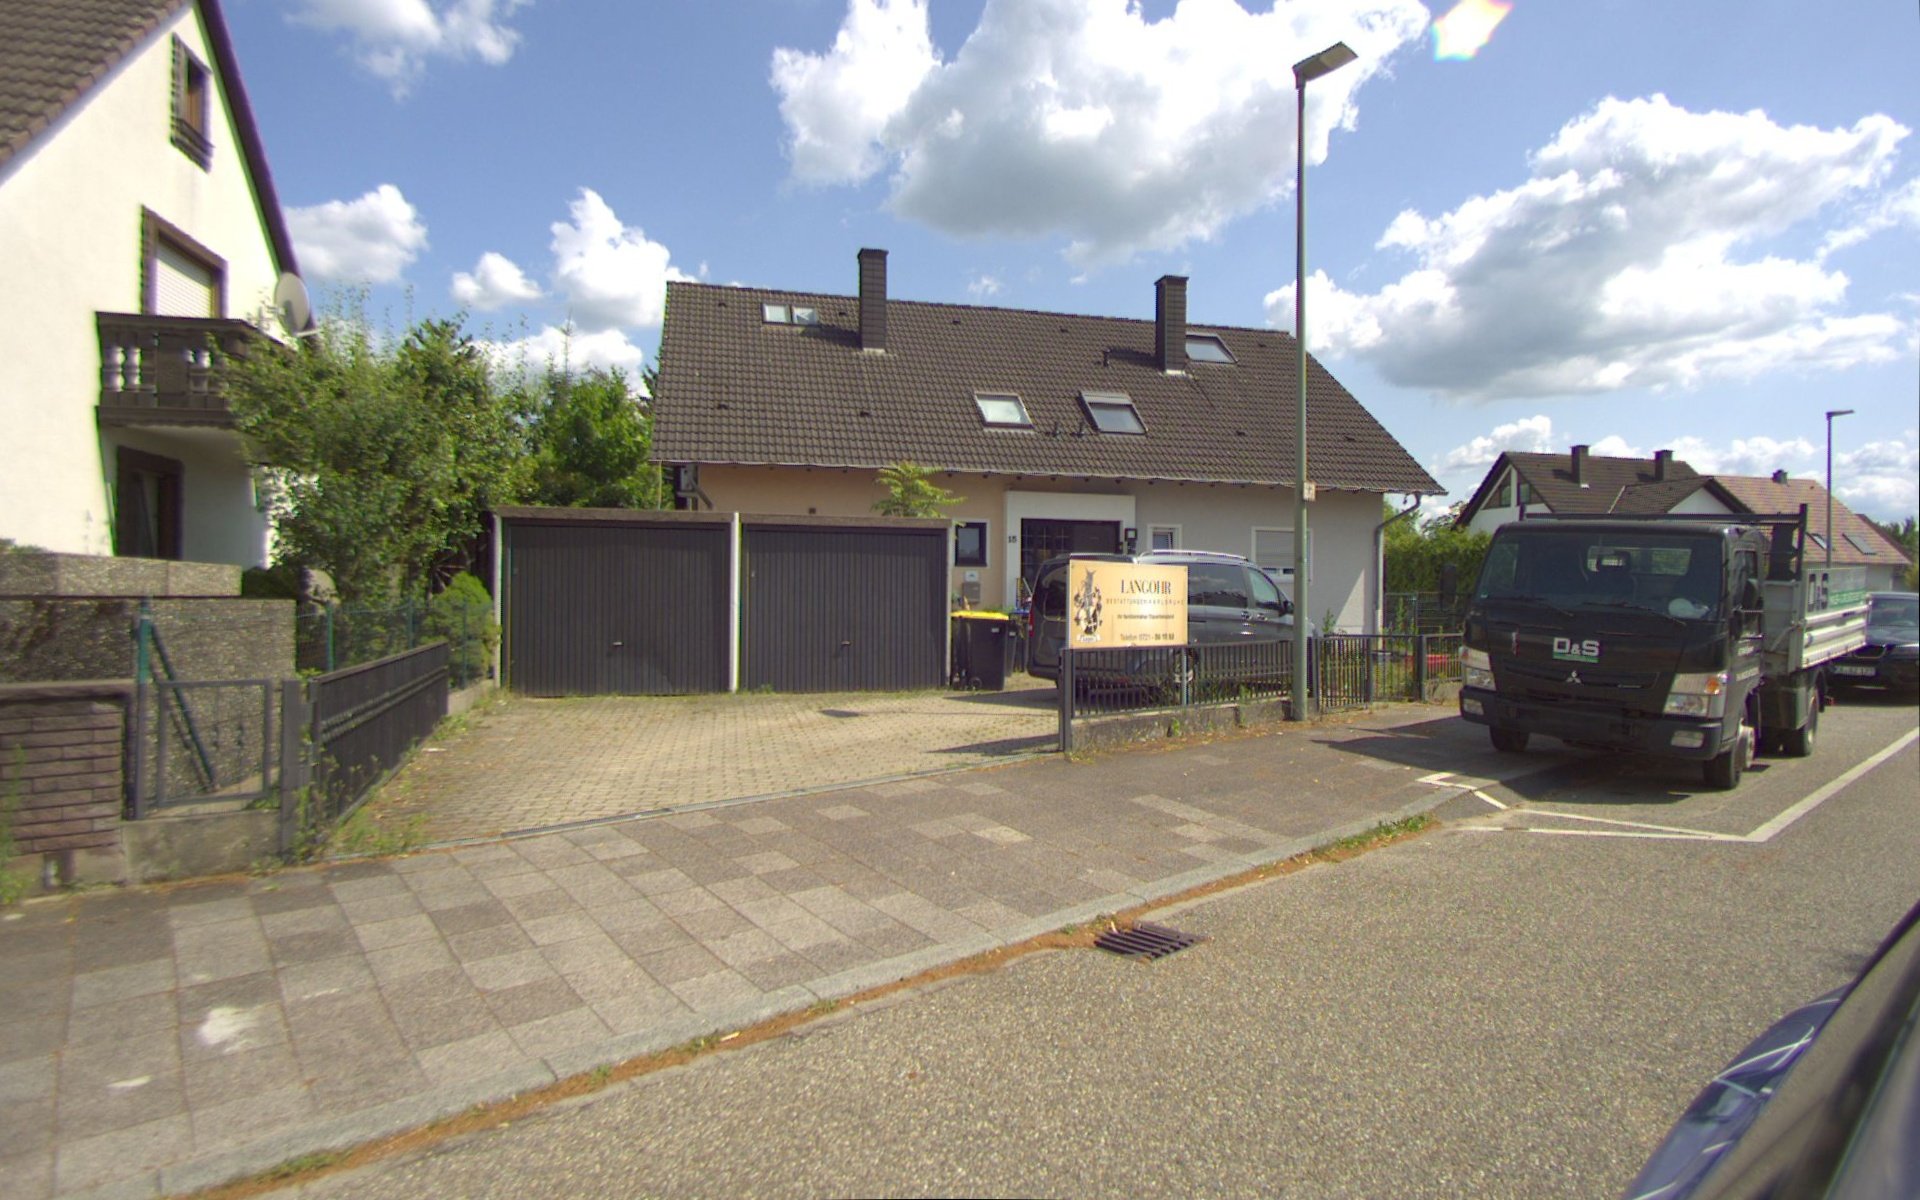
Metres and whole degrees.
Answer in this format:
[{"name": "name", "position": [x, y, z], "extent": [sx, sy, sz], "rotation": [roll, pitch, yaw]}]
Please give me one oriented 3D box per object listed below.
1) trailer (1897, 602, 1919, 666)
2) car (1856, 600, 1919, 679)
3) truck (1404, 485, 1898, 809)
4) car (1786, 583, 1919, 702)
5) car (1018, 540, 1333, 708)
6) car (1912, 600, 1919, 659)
[{"name": "trailer", "position": [23.040, 0.745, 23.411], "extent": [4.356, 1.395, 1.610], "rotation": [0, 0, -42]}, {"name": "car", "position": [19.088, 0.719, 19.824], "extent": [4.072, 1.453, 1.688], "rotation": [0, 0, -39]}, {"name": "truck", "position": [7.106, 0.266, 10.098], "extent": [5.790, 2.327, 2.528], "rotation": [0, 3, -40]}, {"name": "car", "position": [15.012, 0.601, 16.316], "extent": [4.473, 1.683, 1.833], "rotation": [0, 0, -40]}, {"name": "car", "position": [3.123, 0.256, 13.840], "extent": [1.857, 1.889, 4.939], "rotation": [0, 0, 45]}, {"name": "car", "position": [26.338, 0.728, 26.480], "extent": [4.674, 1.481, 1.693], "rotation": [0, 0, -42]}]
